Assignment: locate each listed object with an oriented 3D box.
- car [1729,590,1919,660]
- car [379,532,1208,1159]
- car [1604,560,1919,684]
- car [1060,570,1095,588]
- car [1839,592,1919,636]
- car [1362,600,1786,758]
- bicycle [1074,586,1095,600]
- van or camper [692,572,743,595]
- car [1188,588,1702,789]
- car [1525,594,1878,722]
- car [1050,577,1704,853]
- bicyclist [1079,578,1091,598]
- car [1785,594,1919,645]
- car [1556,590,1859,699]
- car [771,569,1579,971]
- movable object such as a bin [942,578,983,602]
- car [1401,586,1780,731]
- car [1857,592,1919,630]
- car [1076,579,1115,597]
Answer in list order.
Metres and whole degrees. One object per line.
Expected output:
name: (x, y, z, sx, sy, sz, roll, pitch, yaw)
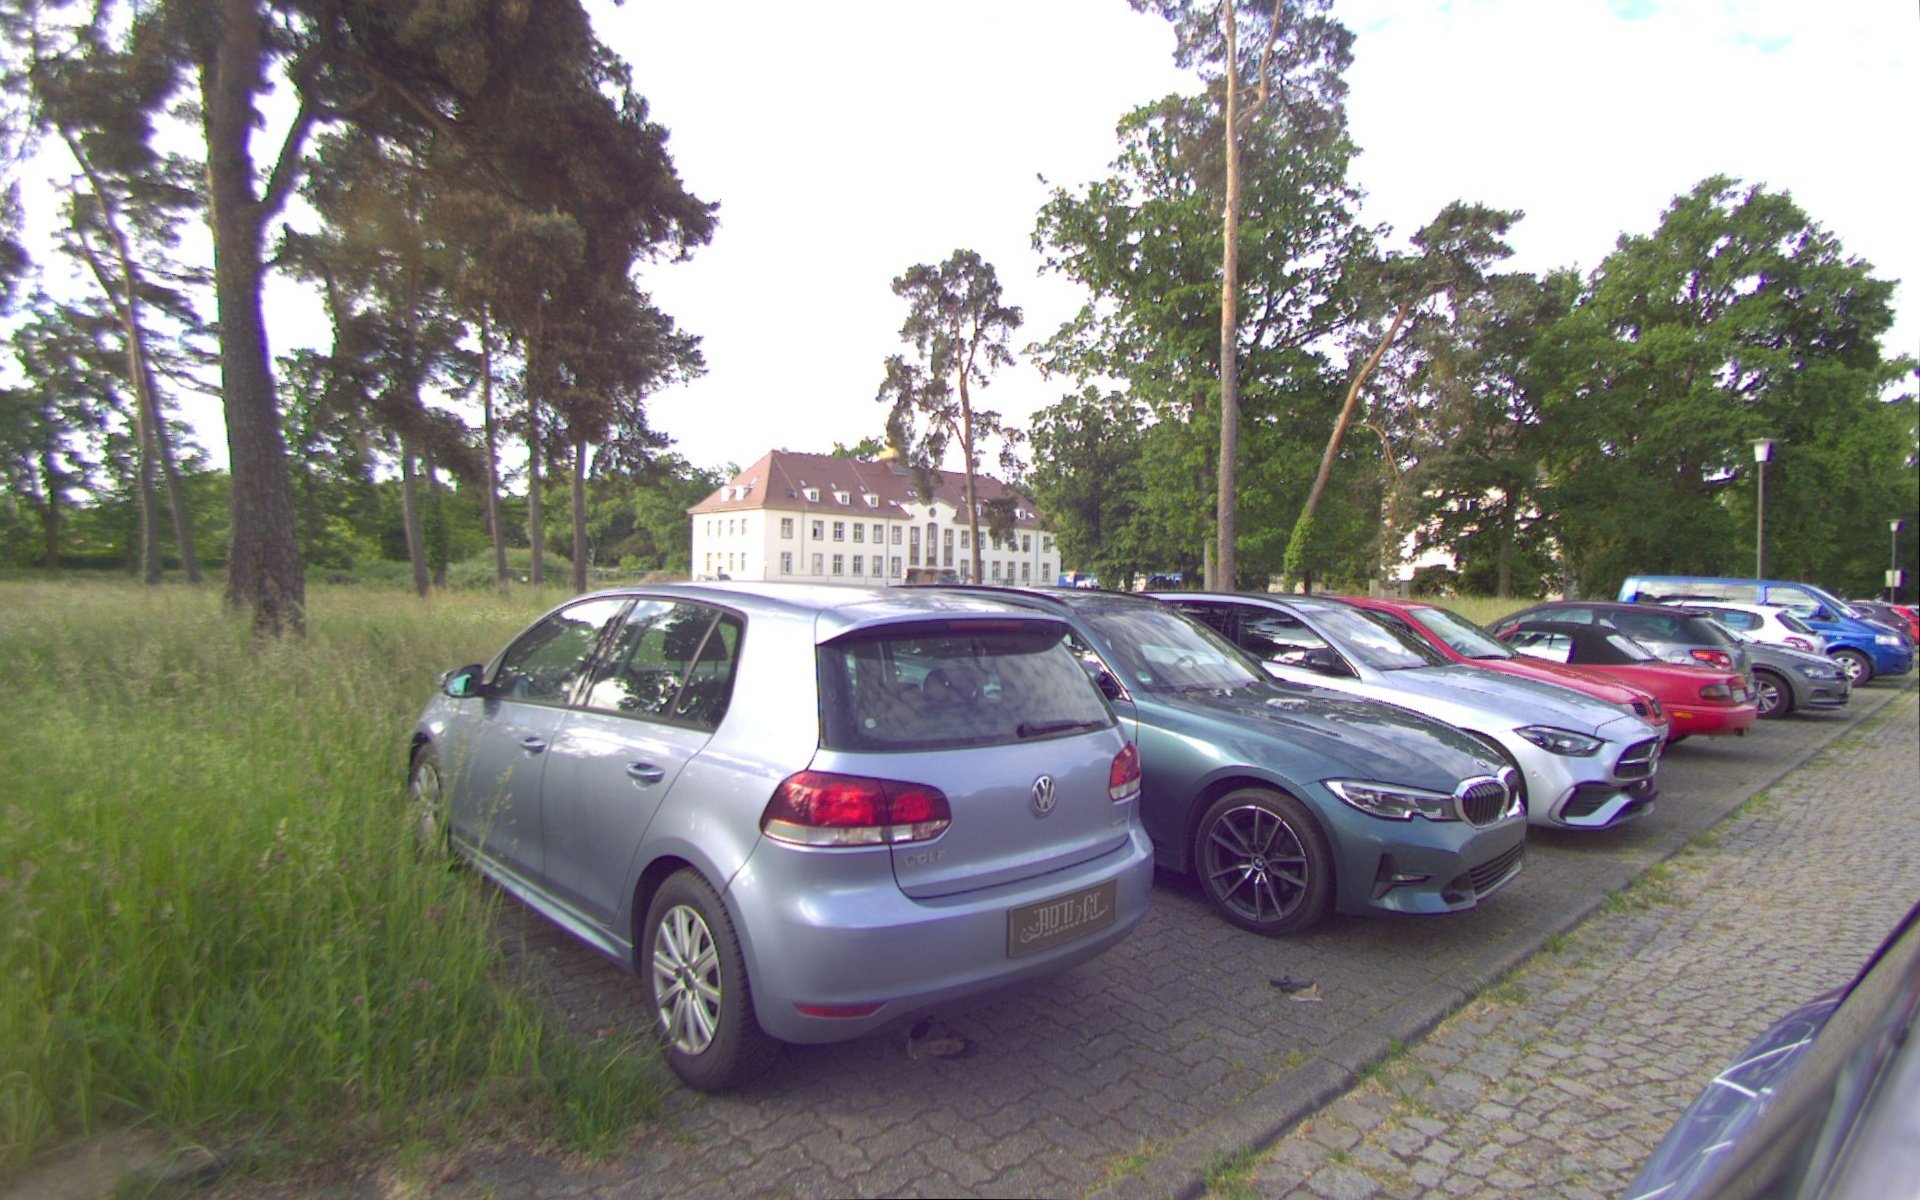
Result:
car: (22.342, 0.591, 26.108, 3.829, 1.621, 1.556, 2, 1, 44)
car: (-1.048, 0.537, 4.350, 1.615, 1.489, 3.845, 0, 1, -44)
car: (16.124, 0.311, 20.322, 2.024, 2.047, 4.952, 0, 3, -41)
car: (14.445, -2.568, 124.251, 3.926, 2.039, 2.219, 0, 1, -38)
car: (37.388, 0.552, 39.948, 1.552, 1.638, 3.839, 0, 1, -37)
car: (6.387, 0.713, 10.805, 1.580, 1.303, 3.553, 2, 0, -41)
bicycle: (11.016, -0.618, 89.519, 1.945, 1.223, 0.638, 0, 1, -40)
van or camper: (-25.222, -1.697, 105.114, 6.058, 2.251, 1.970, 2, 1, 41)
car: (4.403, 0.643, 9.702, 1.690, 1.441, 4.114, 0, 1, -41)
car: (10.381, 0.702, 14.389, 1.614, 1.484, 3.779, 0, 1, -40)
car: (2.902, 0.605, 7.816, 1.737, 1.446, 4.331, 0, 2, -43)
bicyclist: (11.054, -1.092, 89.553, 0.829, 1.756, 0.667, 0, -1, -39)
car: (29.649, 0.604, 33.256, 3.829, 1.544, 1.556, 2, 1, 44)
car: (12.201, 0.636, 16.702, 1.553, 1.517, 3.760, 0, 1, -40)
car: (0.897, 0.593, 6.074, 1.778, 1.502, 4.516, 0, 1, -45)
movable object such as a bin: (0.311, -1.219, 123.217, 1.993, 2.802, 5.124, 2, 1, 42)
car: (7.901, 0.612, 12.954, 1.577, 1.522, 3.833, 0, 1, -42)
car: (40.893, 0.464, 43.052, 1.643, 1.548, 3.839, 0, 1, -37)
car: (14.093, -1.255, 105.488, 3.866, 1.704, 1.847, 0, 3, -40)
